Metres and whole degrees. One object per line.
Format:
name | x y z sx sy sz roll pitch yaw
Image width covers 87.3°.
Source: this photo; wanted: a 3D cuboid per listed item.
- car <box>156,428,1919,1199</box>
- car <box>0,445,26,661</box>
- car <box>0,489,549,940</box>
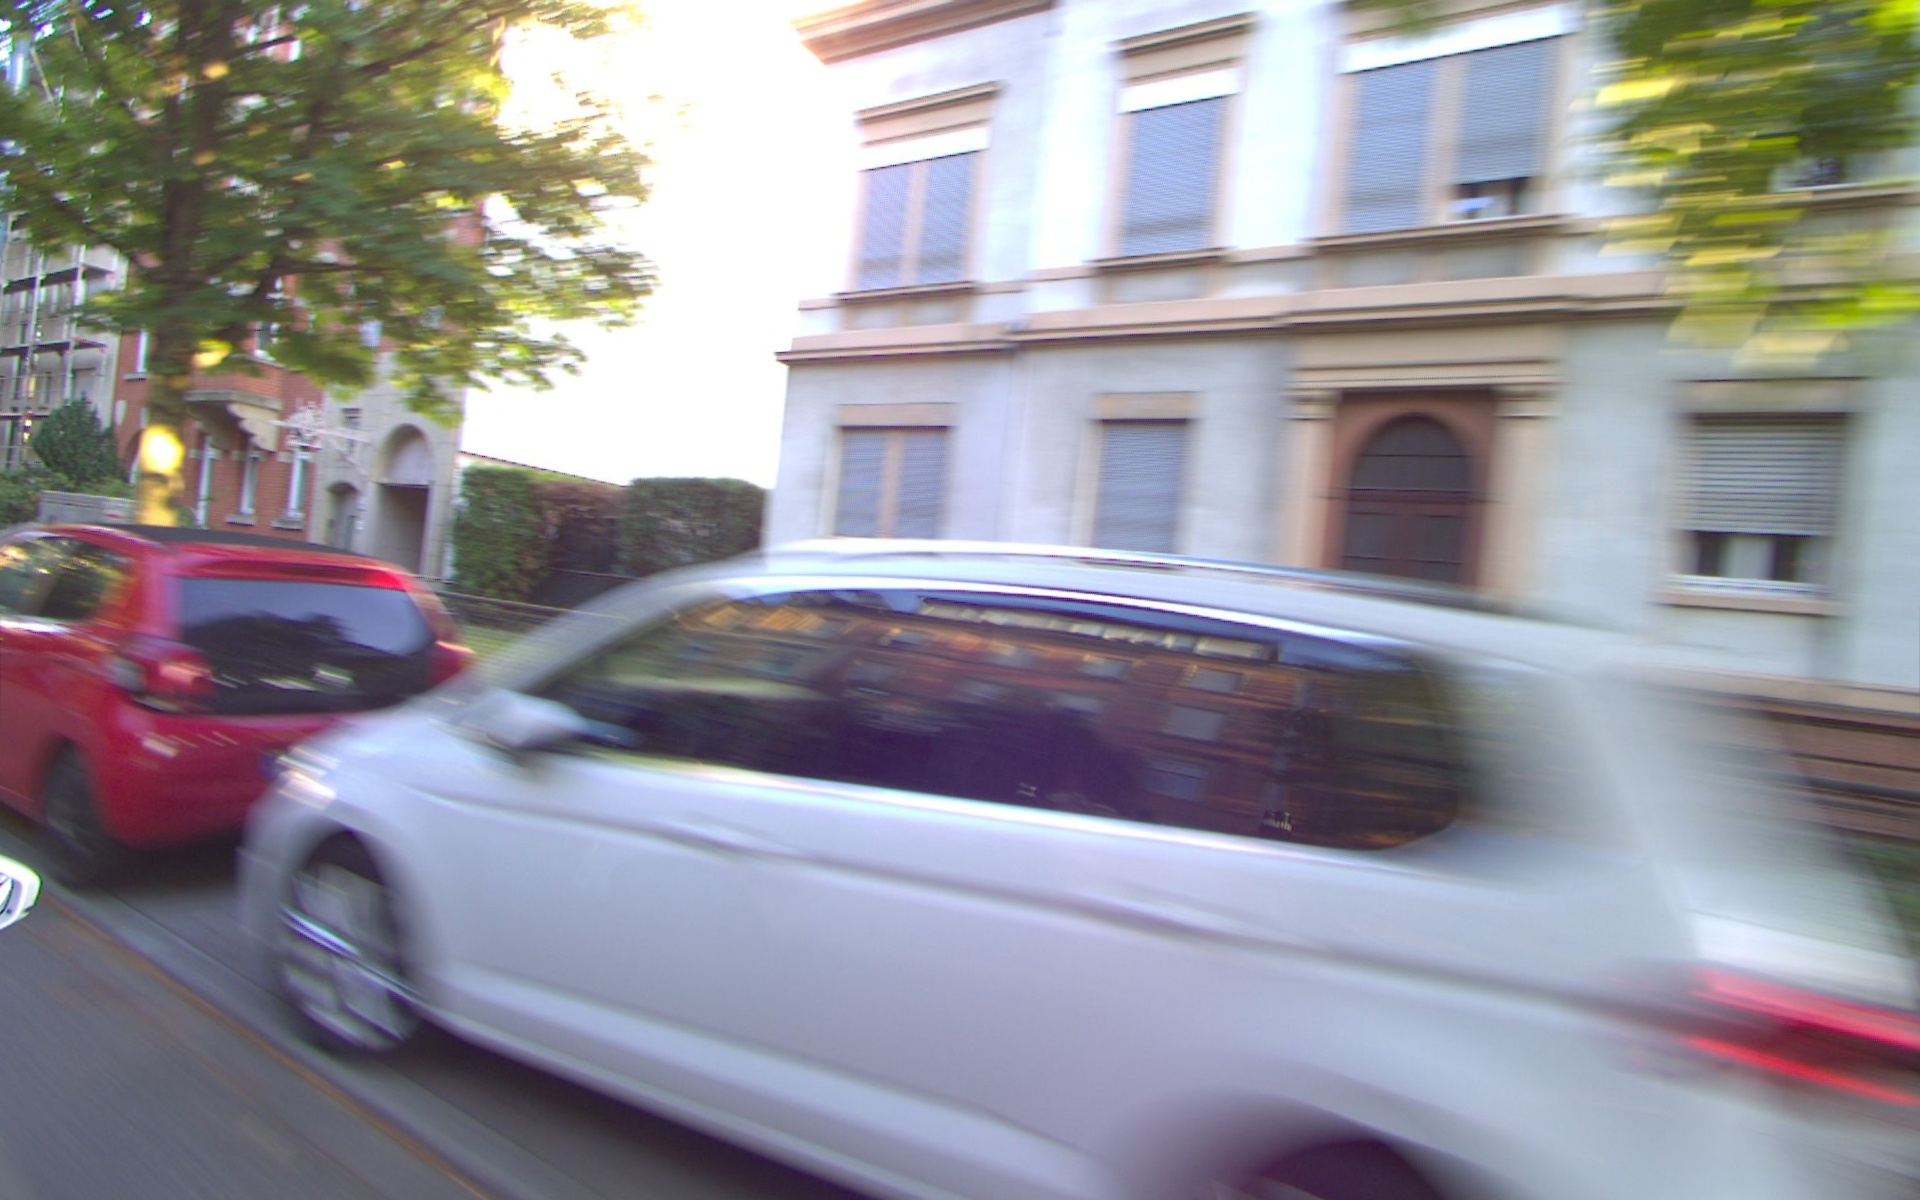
car | -0.255 0.550 3.017 4.045 1.701 1.667 6 2 24
car | -11.725 -0.711 10.262 4.750 2.086 1.955 7 2 31
car | -4.044 0.291 5.170 3.632 1.520 1.665 7 2 31
